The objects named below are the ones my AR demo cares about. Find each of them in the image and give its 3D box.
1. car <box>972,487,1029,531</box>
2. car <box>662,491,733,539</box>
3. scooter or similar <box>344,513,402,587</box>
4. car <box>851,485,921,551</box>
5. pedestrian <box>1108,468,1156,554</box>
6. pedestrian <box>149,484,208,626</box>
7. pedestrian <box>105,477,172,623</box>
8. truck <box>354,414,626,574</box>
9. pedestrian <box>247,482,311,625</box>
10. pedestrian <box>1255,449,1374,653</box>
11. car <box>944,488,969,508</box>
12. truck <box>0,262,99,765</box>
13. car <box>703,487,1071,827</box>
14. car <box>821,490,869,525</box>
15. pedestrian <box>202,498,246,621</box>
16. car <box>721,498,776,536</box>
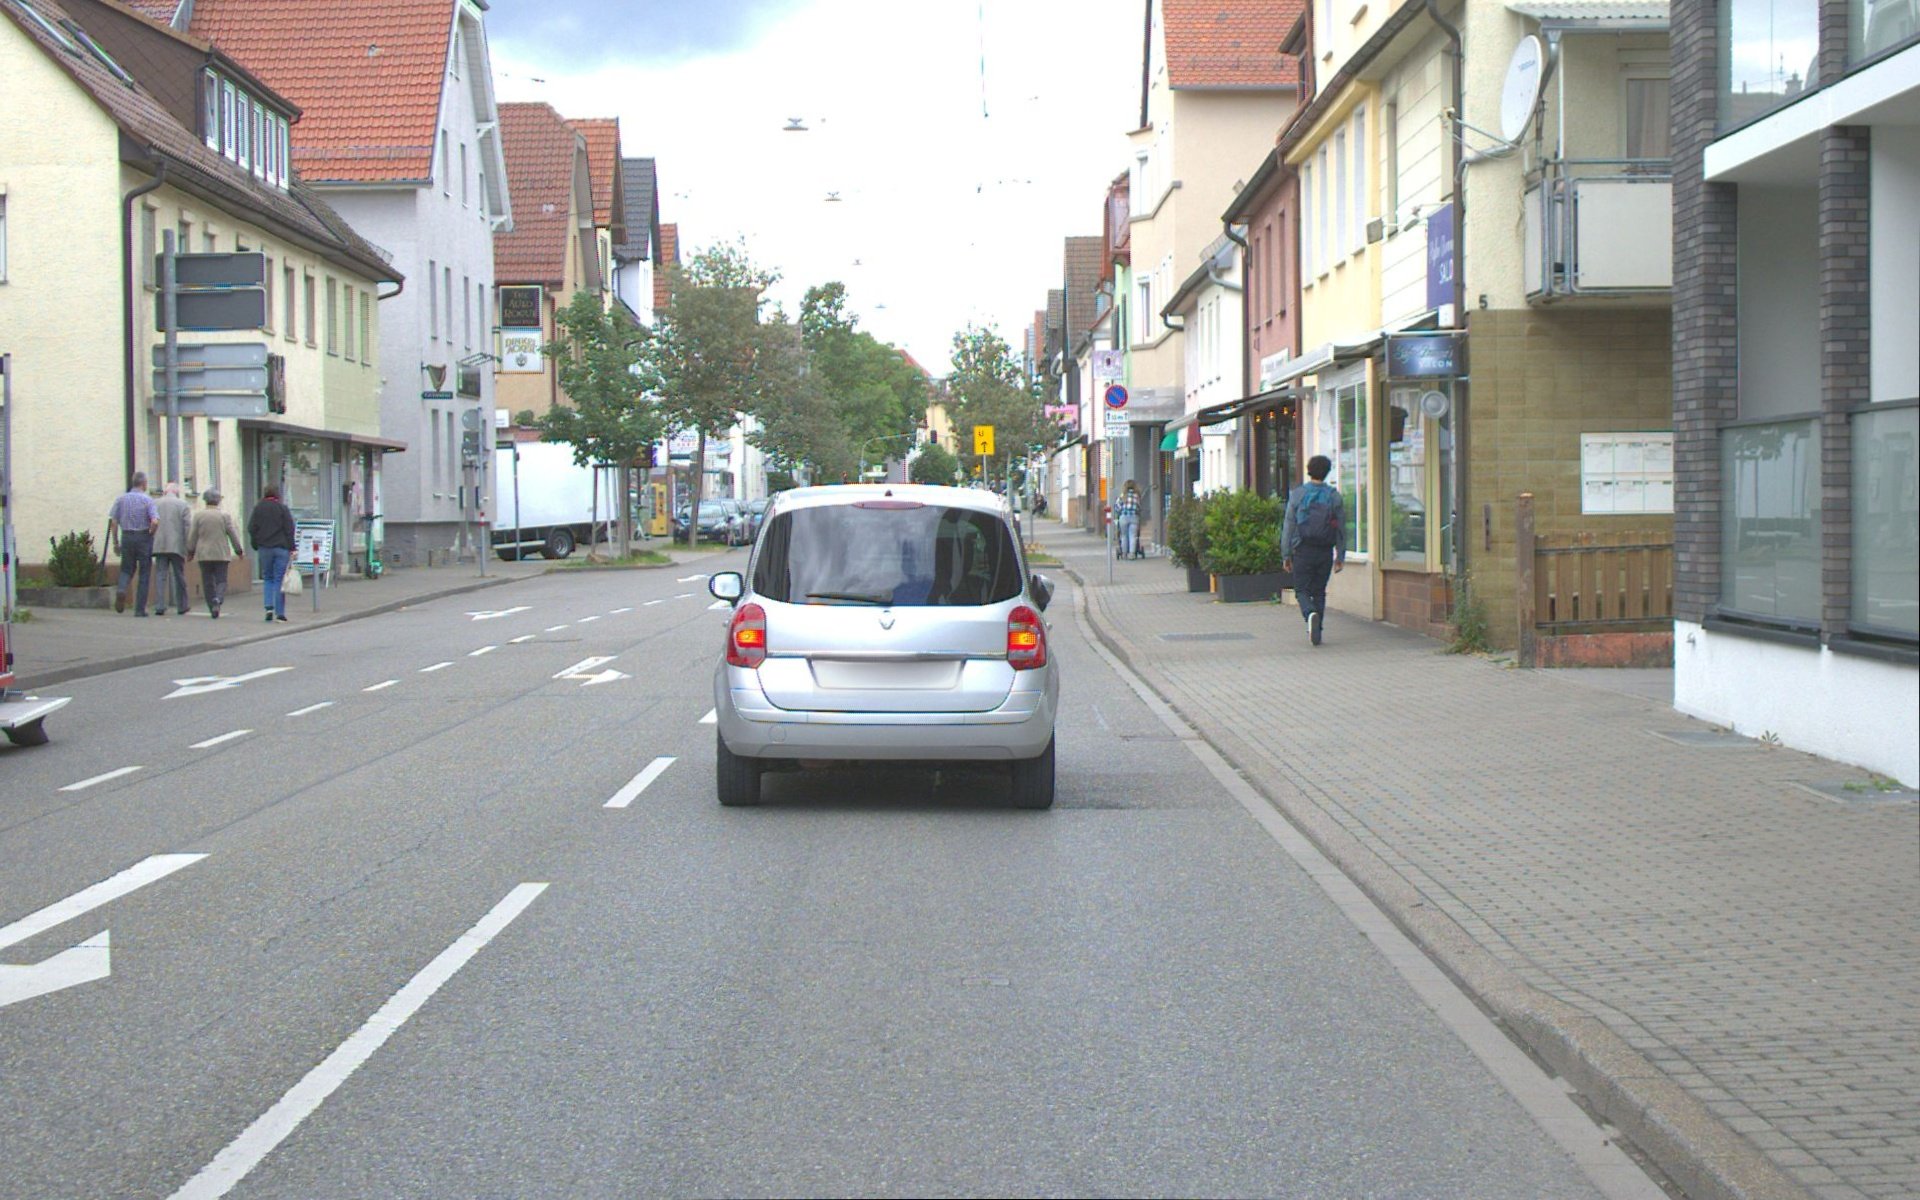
[{"bbox_3d":[1.347,-3.075,115.695,1.812,1.349,4.001,-2,2,0],"label":"car"},{"bbox_3d":[-7.971,-2.605,104.676,1.812,1.349,4.001,-2,2,0],"label":"car"},{"bbox_3d":[-10.706,-0.925,62.764,0.575,1.264,2.549,-2,2,0],"label":"scooter or similar"},{"bbox_3d":[-1.848,-2.071,86.018,1.706,1.573,4.001,0,2,-1],"label":"car"},{"bbox_3d":[3.707,-1.919,74.205,0.889,1.780,0.785,-4,2,0],"label":"pedestrian"},{"bbox_3d":[-9.745,-0.572,42.874,0.579,1.751,0.688,0,2,0],"label":"pedestrian"},{"bbox_3d":[-10.003,-0.615,41.870,0.648,1.751,0.688,0,2,0],"label":"pedestrian"},{"bbox_3d":[-11.933,-2.744,87.764,2.601,3.844,6.834,0,3,39],"label":"truck"},{"bbox_3d":[-8.401,-0.579,42.436,0.662,1.751,0.688,0,2,0],"label":"pedestrian"},{"bbox_3d":[3.236,-0.459,31.453,0.889,1.780,0.785,-4,2,0],"label":"pedestrian"},{"bbox_3d":[-0.254,-7.511,253.264,1.812,1.349,4.001,-2,2,0],"label":"car"},{"bbox_3d":[-6.798,-0.418,18.170,2.435,2.943,8.365,-2,2,-1],"label":"truck"},{"bbox_3d":[-0.374,0.202,18.027,1.706,1.573,4.001,0,2,-1],"label":"car"},{"bbox_3d":[-4.766,-3.861,142.874,1.812,1.349,3.857,-2,2,0],"label":"car"},{"bbox_3d":[-9.172,-0.509,42.845,0.426,1.520,0.553,0,2,0],"label":"pedestrian"},{"bbox_3d":[-8.085,-3.206,131.838,1.812,1.349,4.001,-2,2,0],"label":"car"}]
